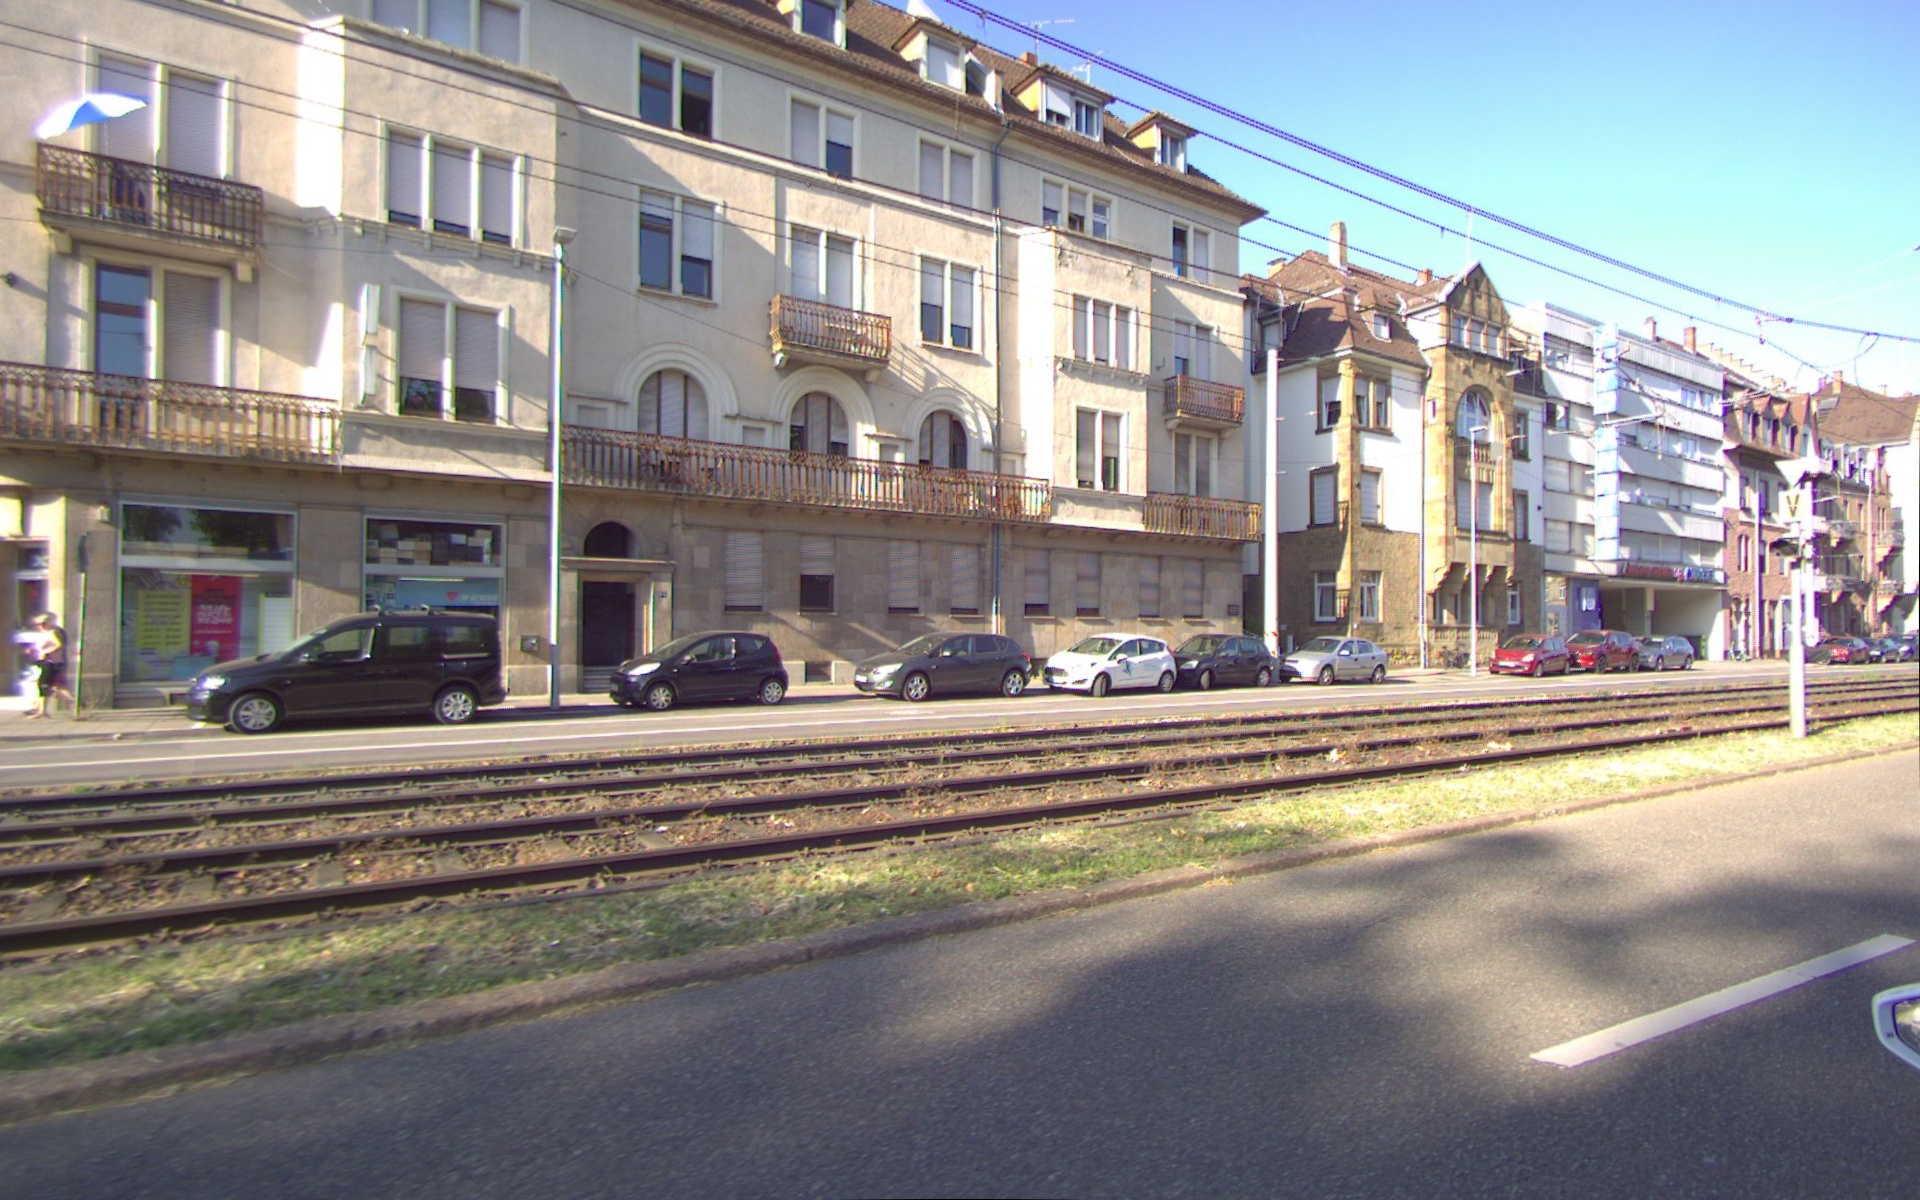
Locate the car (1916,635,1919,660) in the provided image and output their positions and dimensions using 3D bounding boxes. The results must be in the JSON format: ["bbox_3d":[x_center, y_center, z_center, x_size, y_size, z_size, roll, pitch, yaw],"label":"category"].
[{"bbox_3d":[65.832,3.203,67.306,4.155,1.674,1.676,1,1,-34],"label":"car"}]

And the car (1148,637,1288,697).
[{"bbox_3d":[7.248,1.811,28.070,4.121,1.488,1.623,1,-1,-38],"label":"car"}]

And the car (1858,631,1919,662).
[{"bbox_3d":[56.667,2.805,61.059,4.403,1.777,1.785,1,1,-31],"label":"car"}]

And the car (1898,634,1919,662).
[{"bbox_3d":[61.757,3.064,64.193,4.155,1.674,1.676,1,1,-34],"label":"car"}]

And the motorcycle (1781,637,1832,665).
[{"bbox_3d":[45.502,2.712,53.976,2.044,1.345,0.836,2,1,42],"label":"motorcycle"}]

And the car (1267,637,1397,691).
[{"bbox_3d":[11.478,1.919,30.920,4.114,1.488,1.626,1,-1,-33],"label":"car"}]

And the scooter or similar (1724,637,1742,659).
[{"bbox_3d":[43.201,2.677,56.147,1.187,1.221,0.389,1,1,-33],"label":"scooter or similar"}]

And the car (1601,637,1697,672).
[{"bbox_3d":[29.666,2.288,43.206,4.633,1.409,1.822,1,-2,-34],"label":"car"}]

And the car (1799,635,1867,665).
[{"bbox_3d":[48.377,2.729,55.642,4.222,1.479,1.783,1,1,-34],"label":"car"}]

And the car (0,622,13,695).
[{"bbox_3d":[-29.573,1.586,27.564,4.849,2.067,2.045,3,-4,-35],"label":"car"}]

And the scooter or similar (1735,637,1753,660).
[{"bbox_3d":[43.439,2.689,55.632,1.187,1.221,0.389,1,1,-33],"label":"scooter or similar"}]

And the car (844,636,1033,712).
[{"bbox_3d":[-0.451,1.633,23.069,4.116,1.488,1.625,1,1,-34],"label":"car"}]

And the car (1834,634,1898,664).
[{"bbox_3d":[52.404,2.801,58.073,3.958,1.530,1.783,1,1,-33],"label":"car"}]

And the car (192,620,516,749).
[{"bbox_3d":[-9.827,1.266,16.552,4.356,1.810,1.851,1,0,-34],"label":"car"}]

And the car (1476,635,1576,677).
[{"bbox_3d":[21.079,2.044,37.355,4.000,1.410,1.819,1,1,-38],"label":"car"}]

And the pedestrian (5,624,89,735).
[{"bbox_3d":[-14.623,1.260,16.111,0.848,1.719,0.586,2,-1,-31],"label":"pedestrian"}]

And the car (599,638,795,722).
[{"bbox_3d":[-5.239,1.534,20.130,3.473,1.410,1.617,1,1,-35],"label":"car"}]

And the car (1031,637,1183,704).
[{"bbox_3d":[3.749,1.712,25.271,3.952,1.488,1.621,2,-1,-41],"label":"car"}]

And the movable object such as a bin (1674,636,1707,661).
[{"bbox_3d":[41.083,2.734,56.513,0.630,1.389,1.400,1,-1,-39],"label":"movable object such as a bin"}]

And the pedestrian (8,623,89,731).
[{"bbox_3d":[-15.092,1.255,16.647,0.848,1.719,0.586,2,-1,-31],"label":"pedestrian"}]

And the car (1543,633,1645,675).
[{"bbox_3d":[25.457,2.127,40.291,4.305,1.579,1.823,2,-1,-32],"label":"car"}]
